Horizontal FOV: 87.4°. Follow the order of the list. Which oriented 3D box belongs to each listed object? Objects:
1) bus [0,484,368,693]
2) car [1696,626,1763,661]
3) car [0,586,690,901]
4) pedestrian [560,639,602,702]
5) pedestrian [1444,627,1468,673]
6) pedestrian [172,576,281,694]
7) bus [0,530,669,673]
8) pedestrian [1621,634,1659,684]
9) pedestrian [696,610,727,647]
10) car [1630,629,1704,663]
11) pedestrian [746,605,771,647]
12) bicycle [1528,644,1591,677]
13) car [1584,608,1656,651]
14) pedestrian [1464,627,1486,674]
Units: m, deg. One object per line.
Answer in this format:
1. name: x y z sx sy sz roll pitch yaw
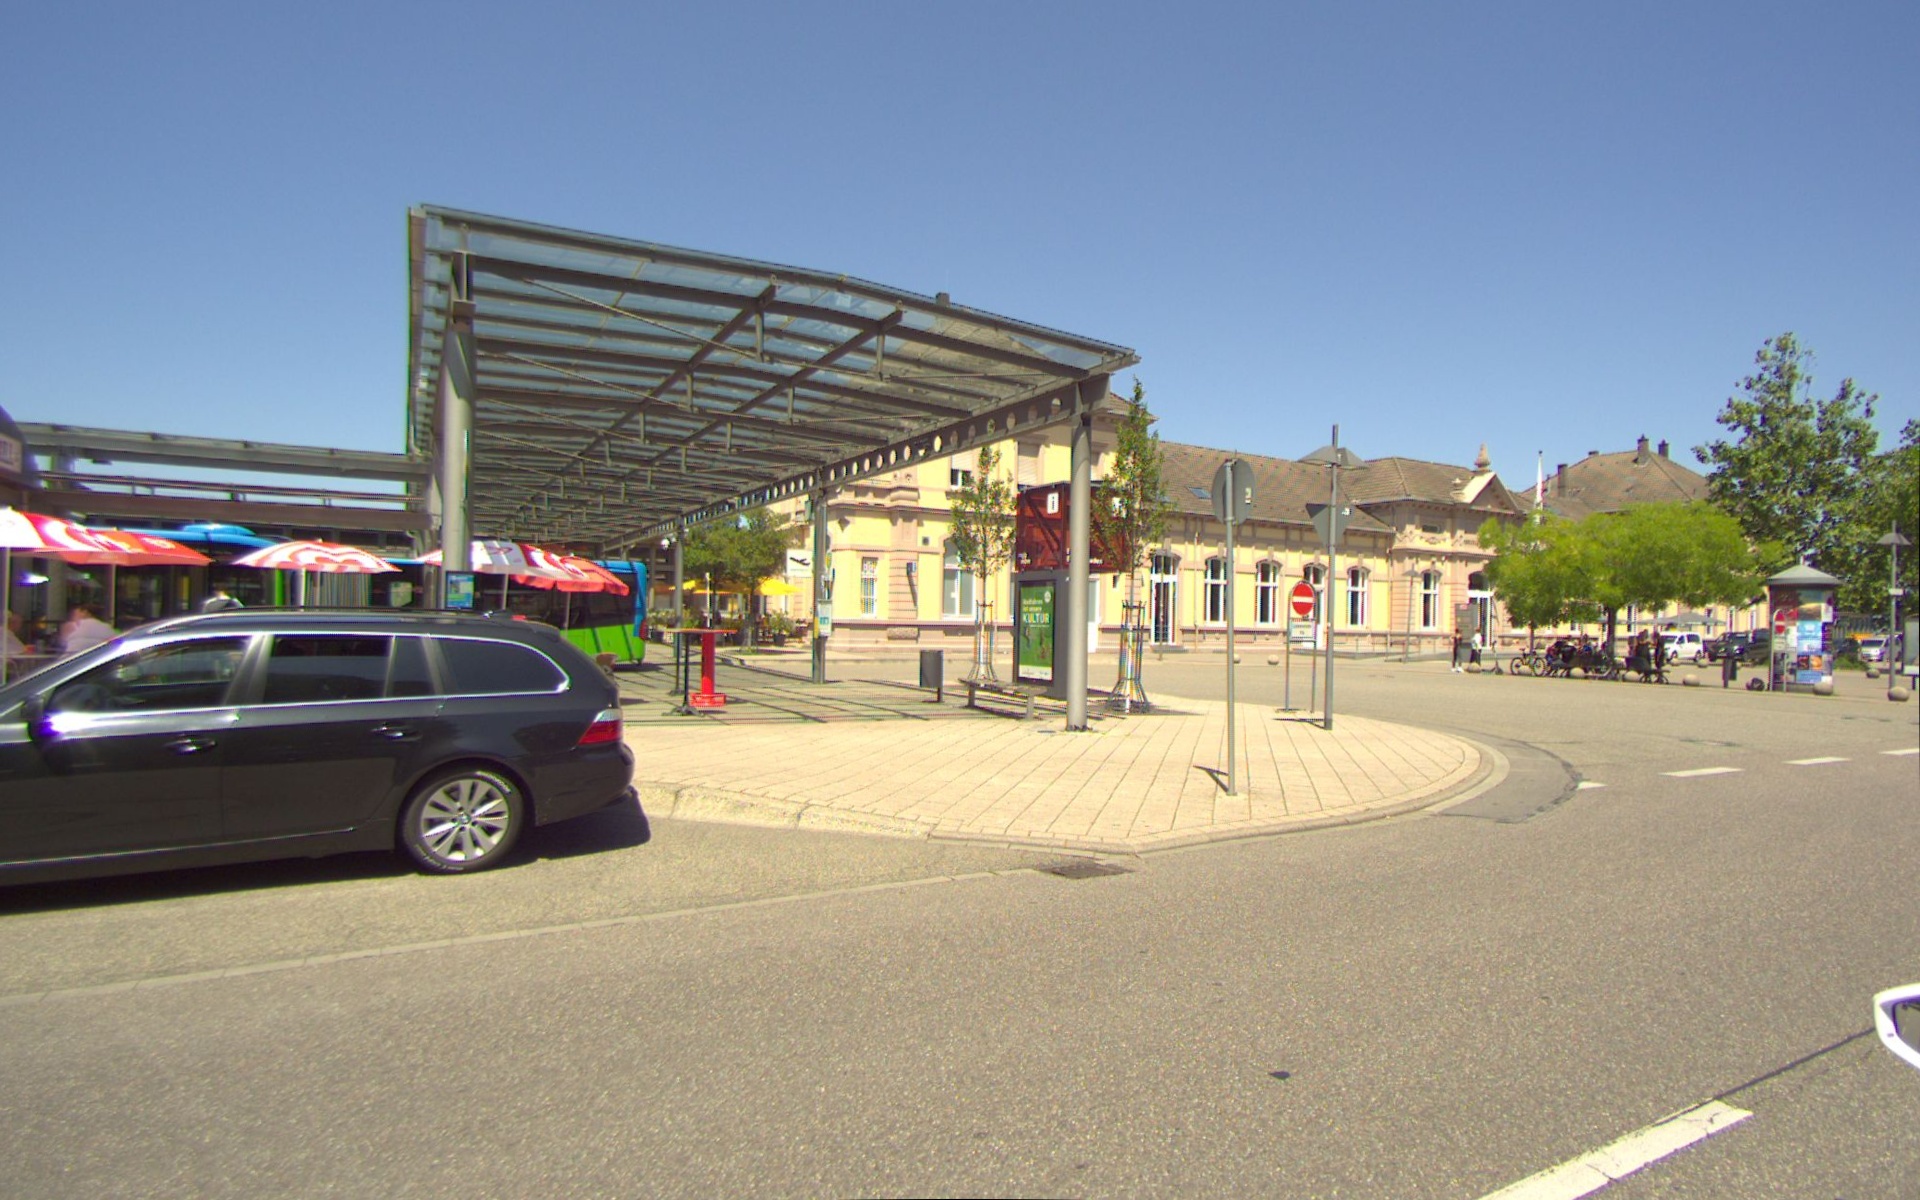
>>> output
1. bus: -16.689 -0.190 16.590 11.700 3.276 2.953 1 -1 -29
2. car: 47.751 2.680 62.347 3.953 2.040 1.984 1 -1 -30
3. car: -4.217 0.724 6.008 4.731 1.498 1.710 2 -2 -31
4. pedestrian: -5.798 1.070 15.368 0.365 0.935 0.425 1 -2 31
5. pedestrian: 18.683 1.875 37.850 0.644 1.695 0.632 2 -2 15
6. pedestrian: -12.080 0.577 16.576 1.123 1.851 0.800 3 -2 -13
7. bus: -15.602 0.190 25.831 15.317 3.077 2.857 1 -1 -27
8. pedestrian: 23.358 2.015 34.501 0.708 1.681 0.761 3 -2 -12
9. pedestrian: -10.225 1.161 41.379 0.952 1.496 0.890 1 -1 -39
10. car: 41.567 2.690 59.039 4.719 1.943 1.743 2 -1 -30
11. pedestrian: -8.276 1.062 41.249 0.771 1.708 0.659 0 0 -37
12. bicycle: 20.346 2.049 34.099 1.770 1.044 0.487 1 -1 38
13. car: 40.718 1.851 61.923 4.948 2.501 1.710 2 0 -31
14. pedestrian: 19.294 1.877 37.638 0.574 1.732 0.588 2 -2 15
